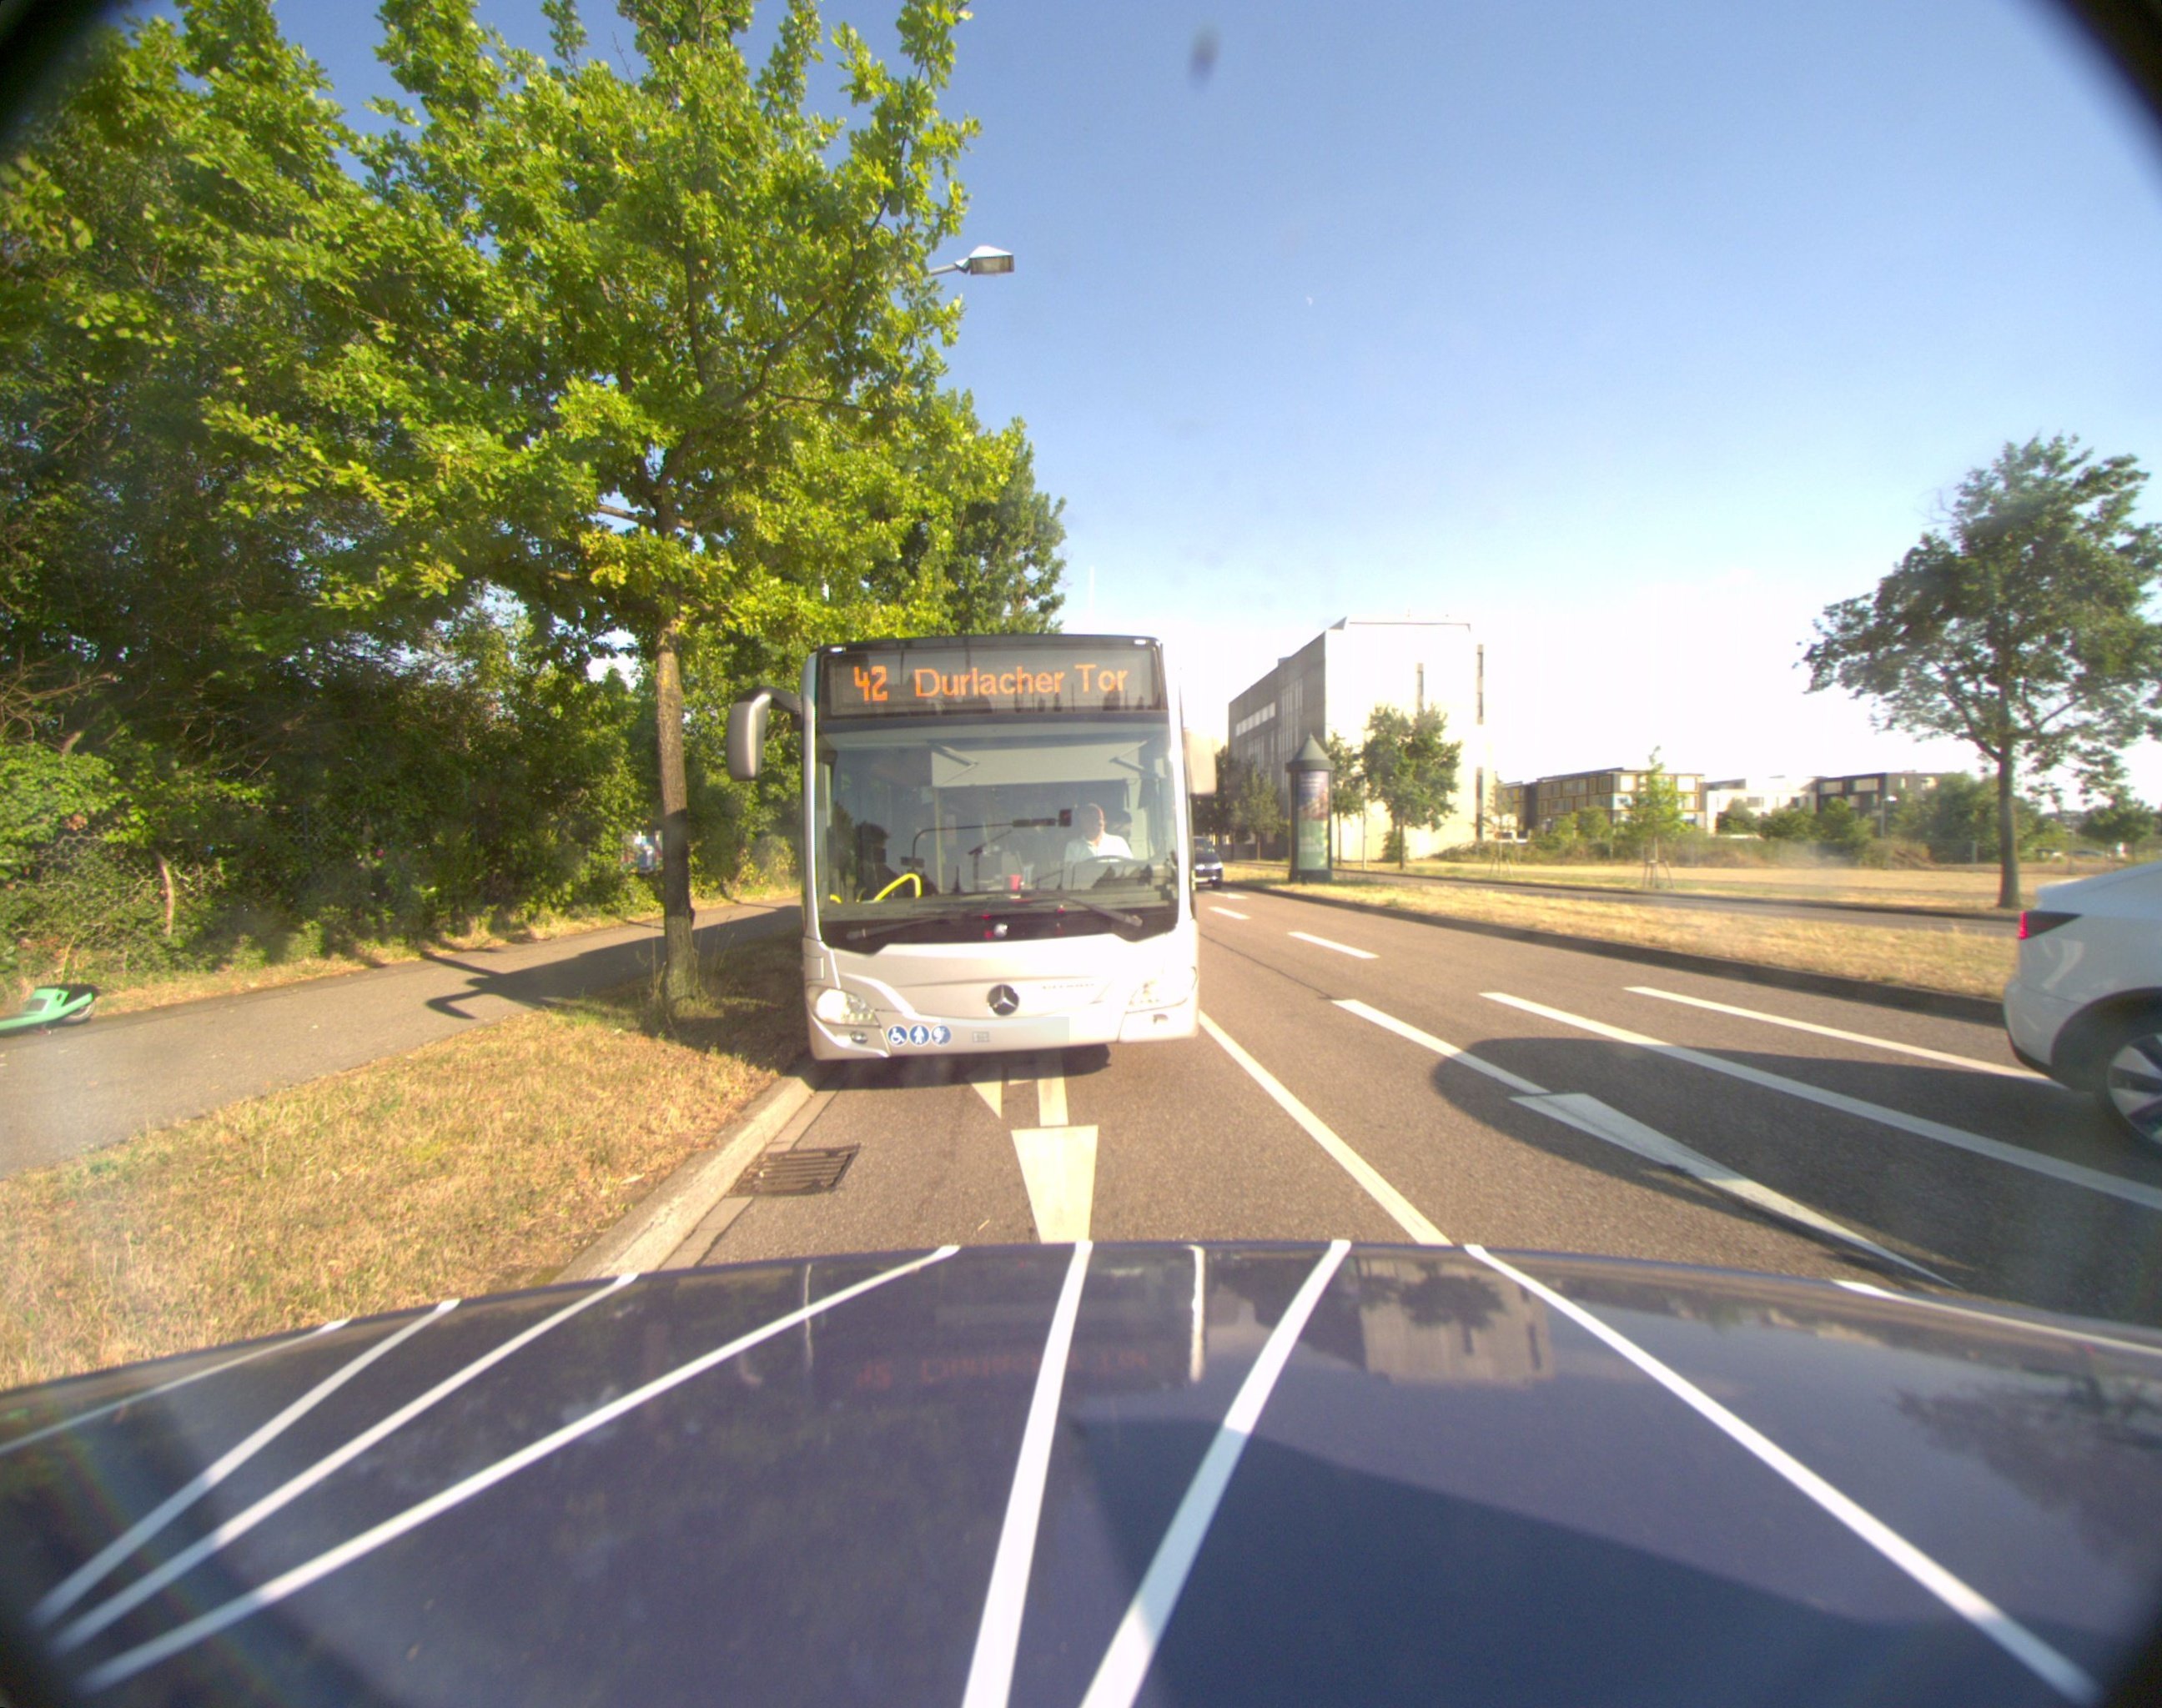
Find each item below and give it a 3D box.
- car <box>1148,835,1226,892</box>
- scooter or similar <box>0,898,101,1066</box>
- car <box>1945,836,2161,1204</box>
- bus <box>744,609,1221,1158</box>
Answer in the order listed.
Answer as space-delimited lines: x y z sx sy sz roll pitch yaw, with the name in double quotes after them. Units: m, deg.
3.889 0.316 28.837 1.861 1.921 5.010 -2 1 -4 "car"
-7.570 0.902 5.212 0.249 1.120 1.095 2 1 1 "scooter or similar"
5.679 0.718 1.819 1.740 1.590 4.675 -2 0 -4 "car"
-1.001 0.121 10.133 2.596 3.025 11.713 -1 0 -5 "bus"
